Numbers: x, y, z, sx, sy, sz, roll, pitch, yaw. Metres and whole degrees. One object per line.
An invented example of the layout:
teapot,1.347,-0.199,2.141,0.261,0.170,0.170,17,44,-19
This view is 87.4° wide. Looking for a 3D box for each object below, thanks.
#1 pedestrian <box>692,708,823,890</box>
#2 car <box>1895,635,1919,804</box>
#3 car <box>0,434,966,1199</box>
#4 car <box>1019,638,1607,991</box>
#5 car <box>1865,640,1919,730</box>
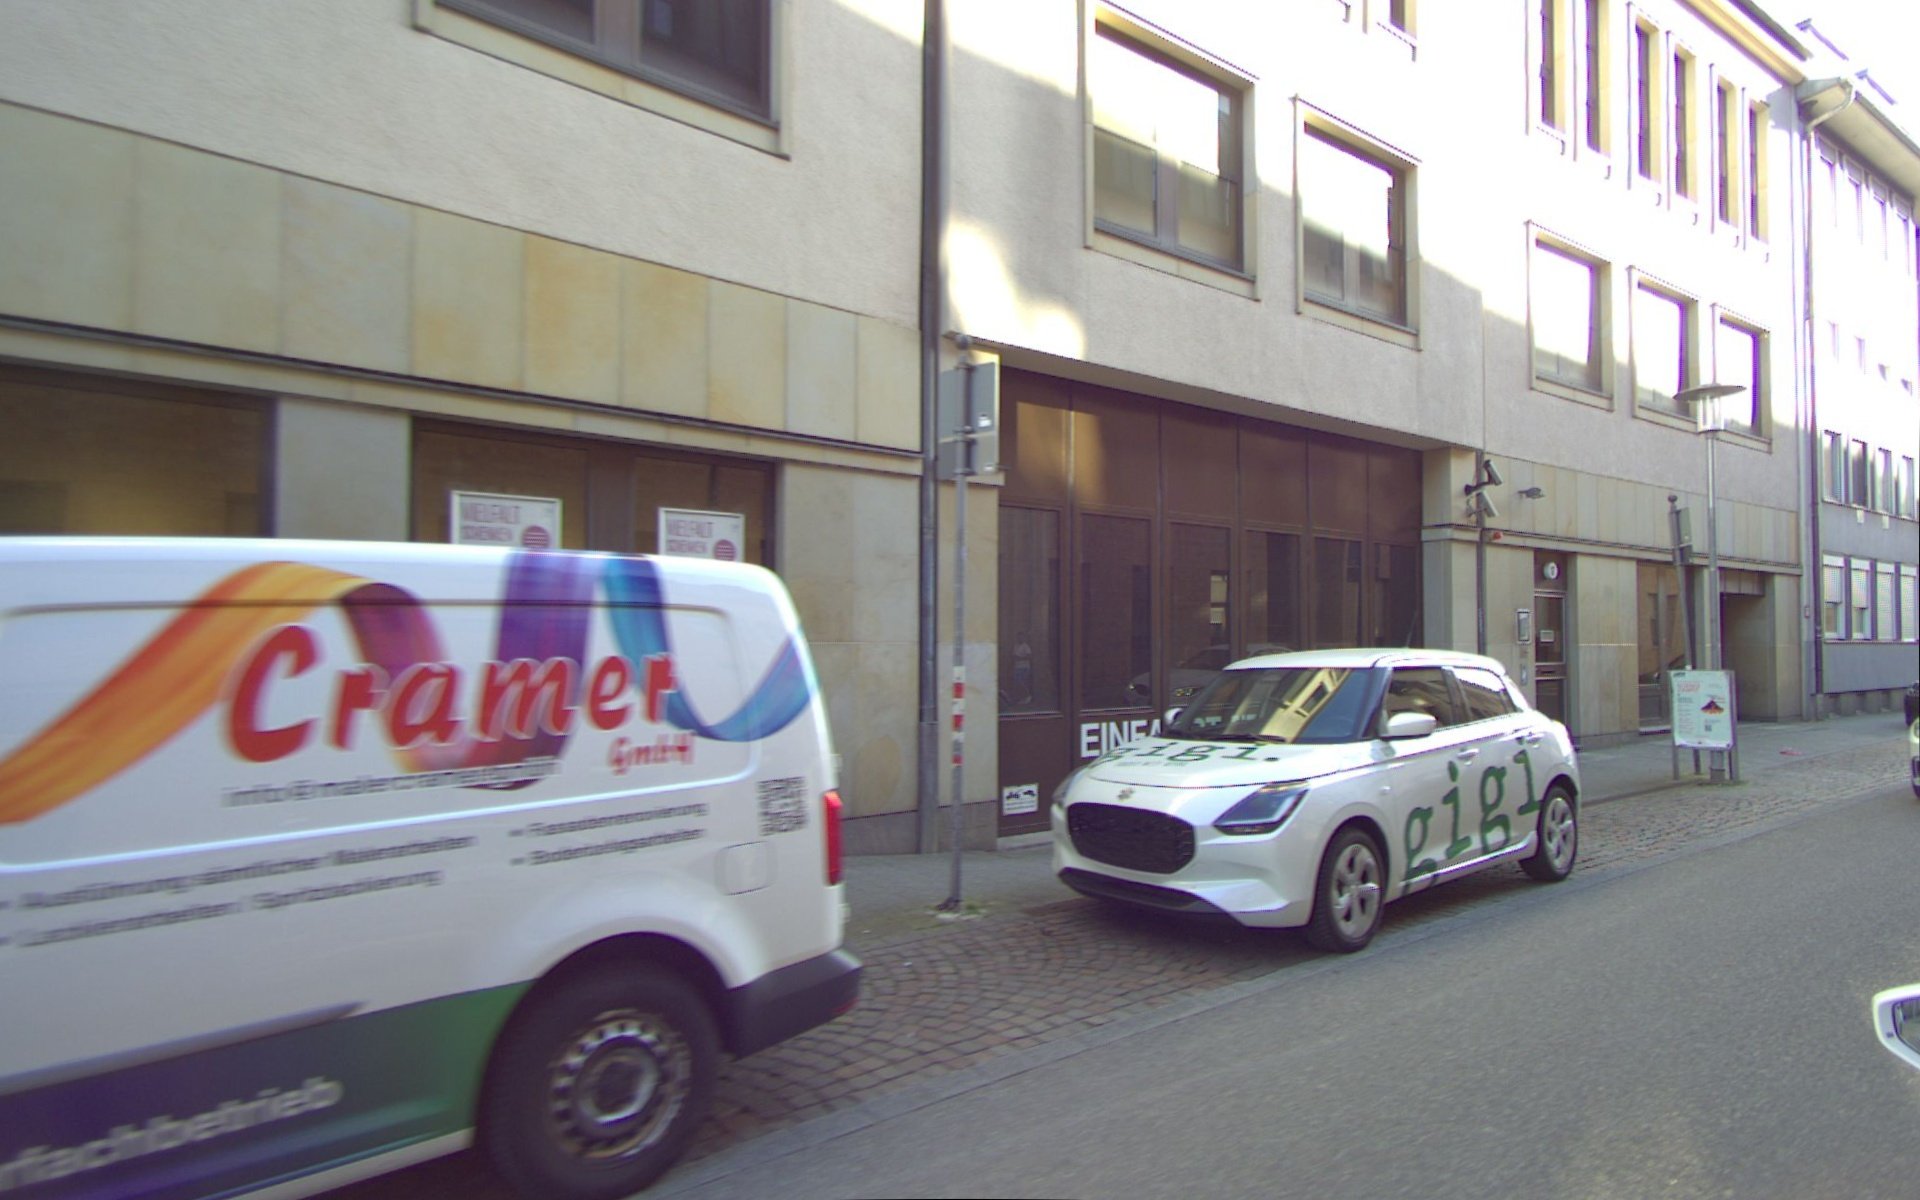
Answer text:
pedestrian,-1.335,1.269,6.615,0.612,1.048,0.649,2,-2,-41
car,10.811,1.106,9.769,4.119,1.537,1.703,2,-3,-36
car,-2.408,0.666,2.767,4.691,1.881,1.886,2,-4,-38
car,2.329,1.047,6.250,3.742,1.541,1.658,2,-5,-38
car,18.594,1.503,18.508,4.682,1.550,1.878,2,-3,-36
